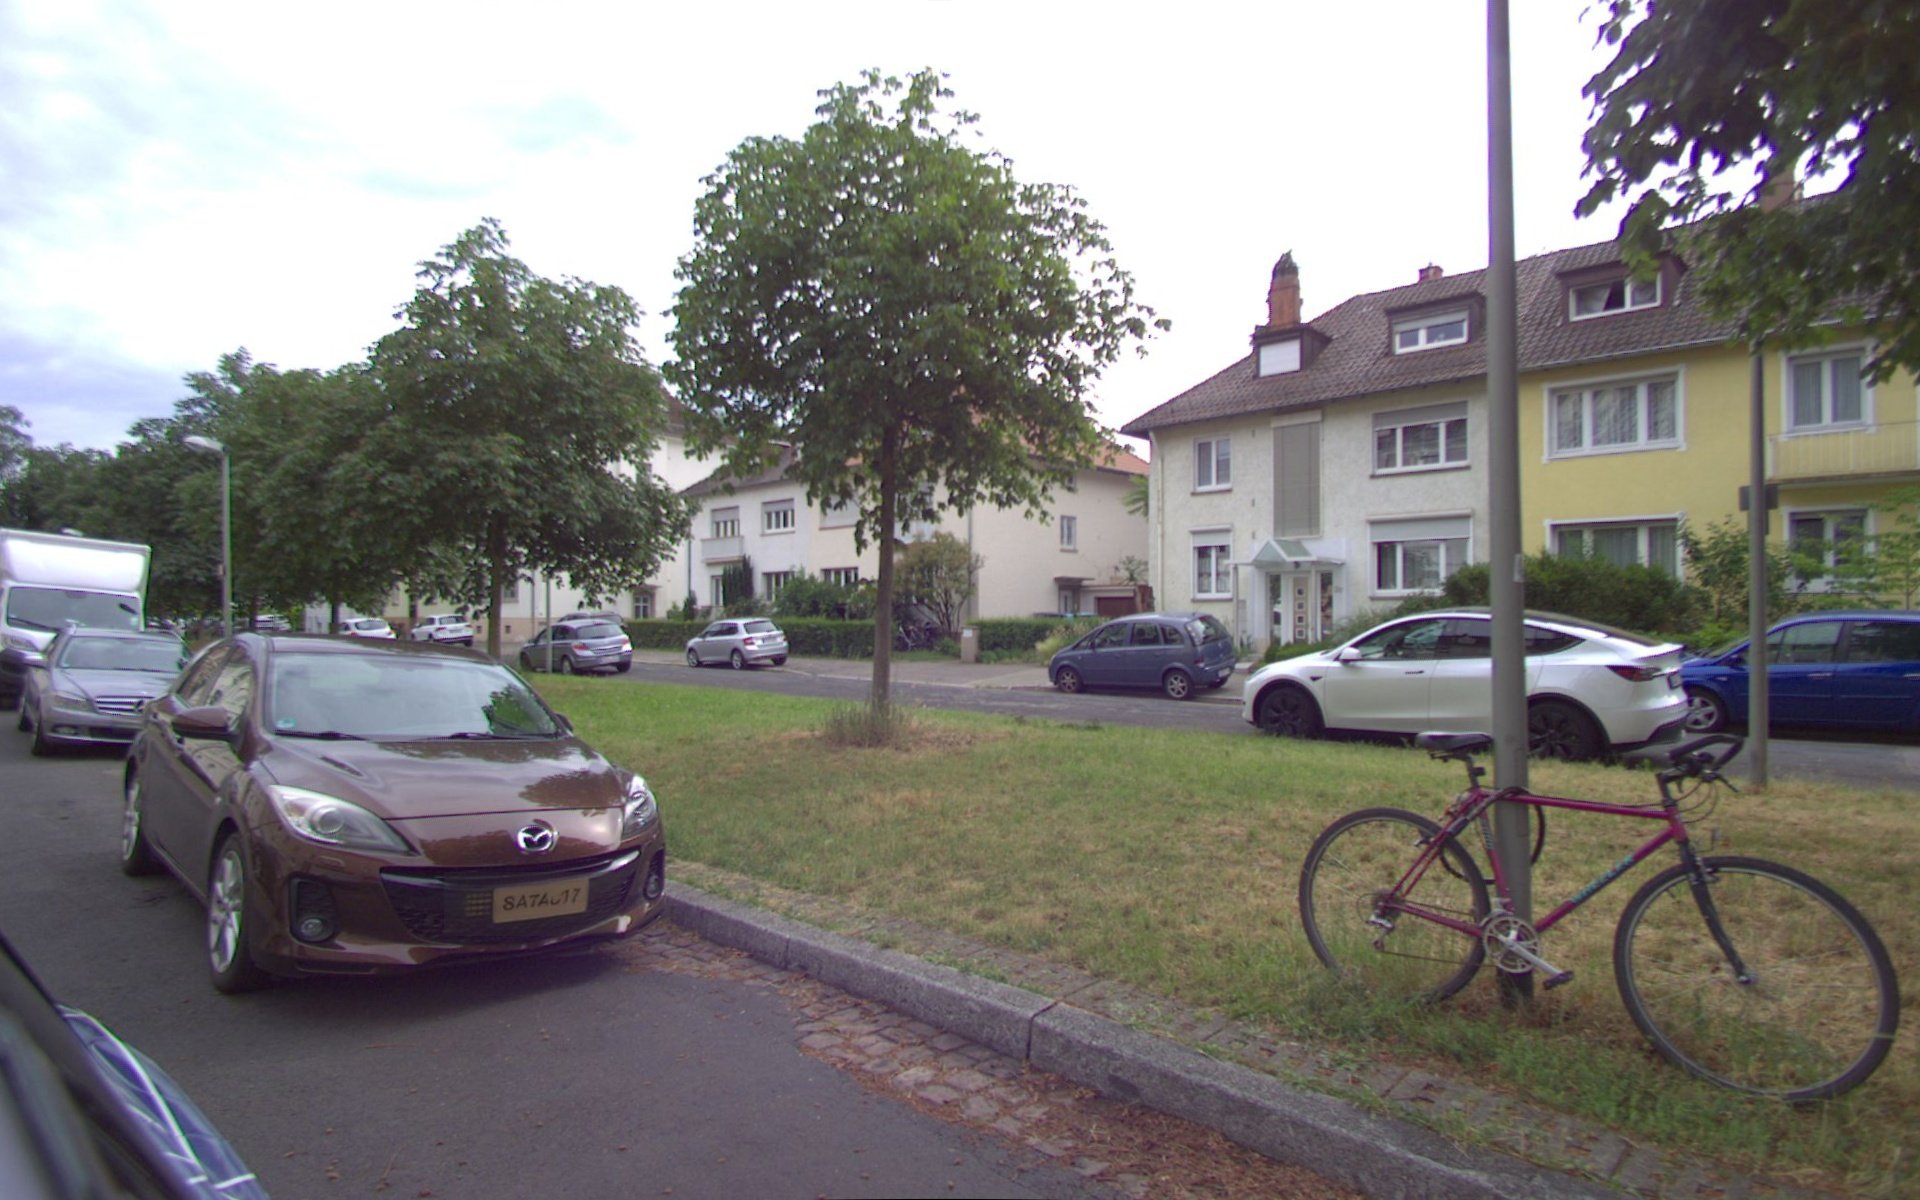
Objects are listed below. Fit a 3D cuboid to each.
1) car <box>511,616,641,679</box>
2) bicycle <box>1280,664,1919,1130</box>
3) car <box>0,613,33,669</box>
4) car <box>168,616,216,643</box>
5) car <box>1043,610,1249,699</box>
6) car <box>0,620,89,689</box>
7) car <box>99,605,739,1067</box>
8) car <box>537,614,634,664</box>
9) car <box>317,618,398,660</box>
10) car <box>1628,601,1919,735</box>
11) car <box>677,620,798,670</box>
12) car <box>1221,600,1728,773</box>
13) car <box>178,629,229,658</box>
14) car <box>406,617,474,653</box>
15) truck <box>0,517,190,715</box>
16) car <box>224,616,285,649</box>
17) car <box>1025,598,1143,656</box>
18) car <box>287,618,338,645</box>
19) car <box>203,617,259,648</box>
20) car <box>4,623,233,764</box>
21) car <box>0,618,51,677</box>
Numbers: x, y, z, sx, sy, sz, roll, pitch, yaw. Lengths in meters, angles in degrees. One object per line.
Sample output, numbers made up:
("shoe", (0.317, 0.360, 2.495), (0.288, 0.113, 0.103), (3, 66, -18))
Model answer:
("car", (-10.426, 1.218, 27.346), (4.008, 1.499, 1.779), (0, 0, 44))
("bicycle", (2.090, 0.800, 3.357), (0.658, 1.074, 1.887), (1, -1, -44))
("car", (-31.969, 1.293, 33.223), (4.314, 1.721, 1.761), (-1, -5, 42))
("car", (-50.637, 1.930, 66.671), (4.008, 1.652, 1.942), (0, 0, 44))
("car", (3.782, 1.055, 20.980), (3.885, 1.614, 1.695), (-1, 1, 43))
("car", (-22.596, 1.288, 24.549), (4.150, 1.526, 1.621), (-1, -5, 42))
("car", (-3.098, 0.849, 5.327), (4.164, 1.469, 1.691), (-1, -6, 44))
("car", (-14.229, 1.420, 38.325), (4.102, 1.686, 1.780), (0, 3, 44))
("car", (-23.975, 1.518, 40.224), (4.008, 1.499, 1.779), (0, 0, 44))
("car", (11.439, 0.813, 13.259), (1.679, 1.578, 4.215), (-1, 0, -42))
("car", (-6.872, 1.332, 31.066), (3.943, 1.365, 1.779), (0, 0, 44))
("car", (5.665, 0.815, 11.651), (4.885, 1.578, 1.875), (0, -1, 44))
("car", (-47.109, 2.663, 63.003), (4.008, 1.652, 1.942), (0, 0, 44))
("car", (-25.285, 1.653, 49.163), (4.008, 1.619, 1.779), (0, 0, 44))
("truck", (-16.519, 0.361, 18.660), (7.114, 2.979, 2.410), (-1, -6, 44))
("car", (-37.729, 1.692, 54.084), (4.008, 1.652, 1.942), (0, 0, 44))
("car", (4.304, 0.879, 34.812), (2.001, 1.741, 3.942), (-1, 1, 44))
("car", (-43.335, 2.078, 67.670), (4.008, 1.651, 1.943), (0, 2, 44))
("car", (-42.196, 1.823, 58.529), (4.008, 1.652, 1.942), (0, 0, 44))
("car", (-10.864, 1.102, 12.944), (4.449, 1.469, 1.691), (-1, -6, 44))
("car", (-26.802, 1.286, 28.303), (4.150, 1.526, 1.622), (-1, -1, 42))
